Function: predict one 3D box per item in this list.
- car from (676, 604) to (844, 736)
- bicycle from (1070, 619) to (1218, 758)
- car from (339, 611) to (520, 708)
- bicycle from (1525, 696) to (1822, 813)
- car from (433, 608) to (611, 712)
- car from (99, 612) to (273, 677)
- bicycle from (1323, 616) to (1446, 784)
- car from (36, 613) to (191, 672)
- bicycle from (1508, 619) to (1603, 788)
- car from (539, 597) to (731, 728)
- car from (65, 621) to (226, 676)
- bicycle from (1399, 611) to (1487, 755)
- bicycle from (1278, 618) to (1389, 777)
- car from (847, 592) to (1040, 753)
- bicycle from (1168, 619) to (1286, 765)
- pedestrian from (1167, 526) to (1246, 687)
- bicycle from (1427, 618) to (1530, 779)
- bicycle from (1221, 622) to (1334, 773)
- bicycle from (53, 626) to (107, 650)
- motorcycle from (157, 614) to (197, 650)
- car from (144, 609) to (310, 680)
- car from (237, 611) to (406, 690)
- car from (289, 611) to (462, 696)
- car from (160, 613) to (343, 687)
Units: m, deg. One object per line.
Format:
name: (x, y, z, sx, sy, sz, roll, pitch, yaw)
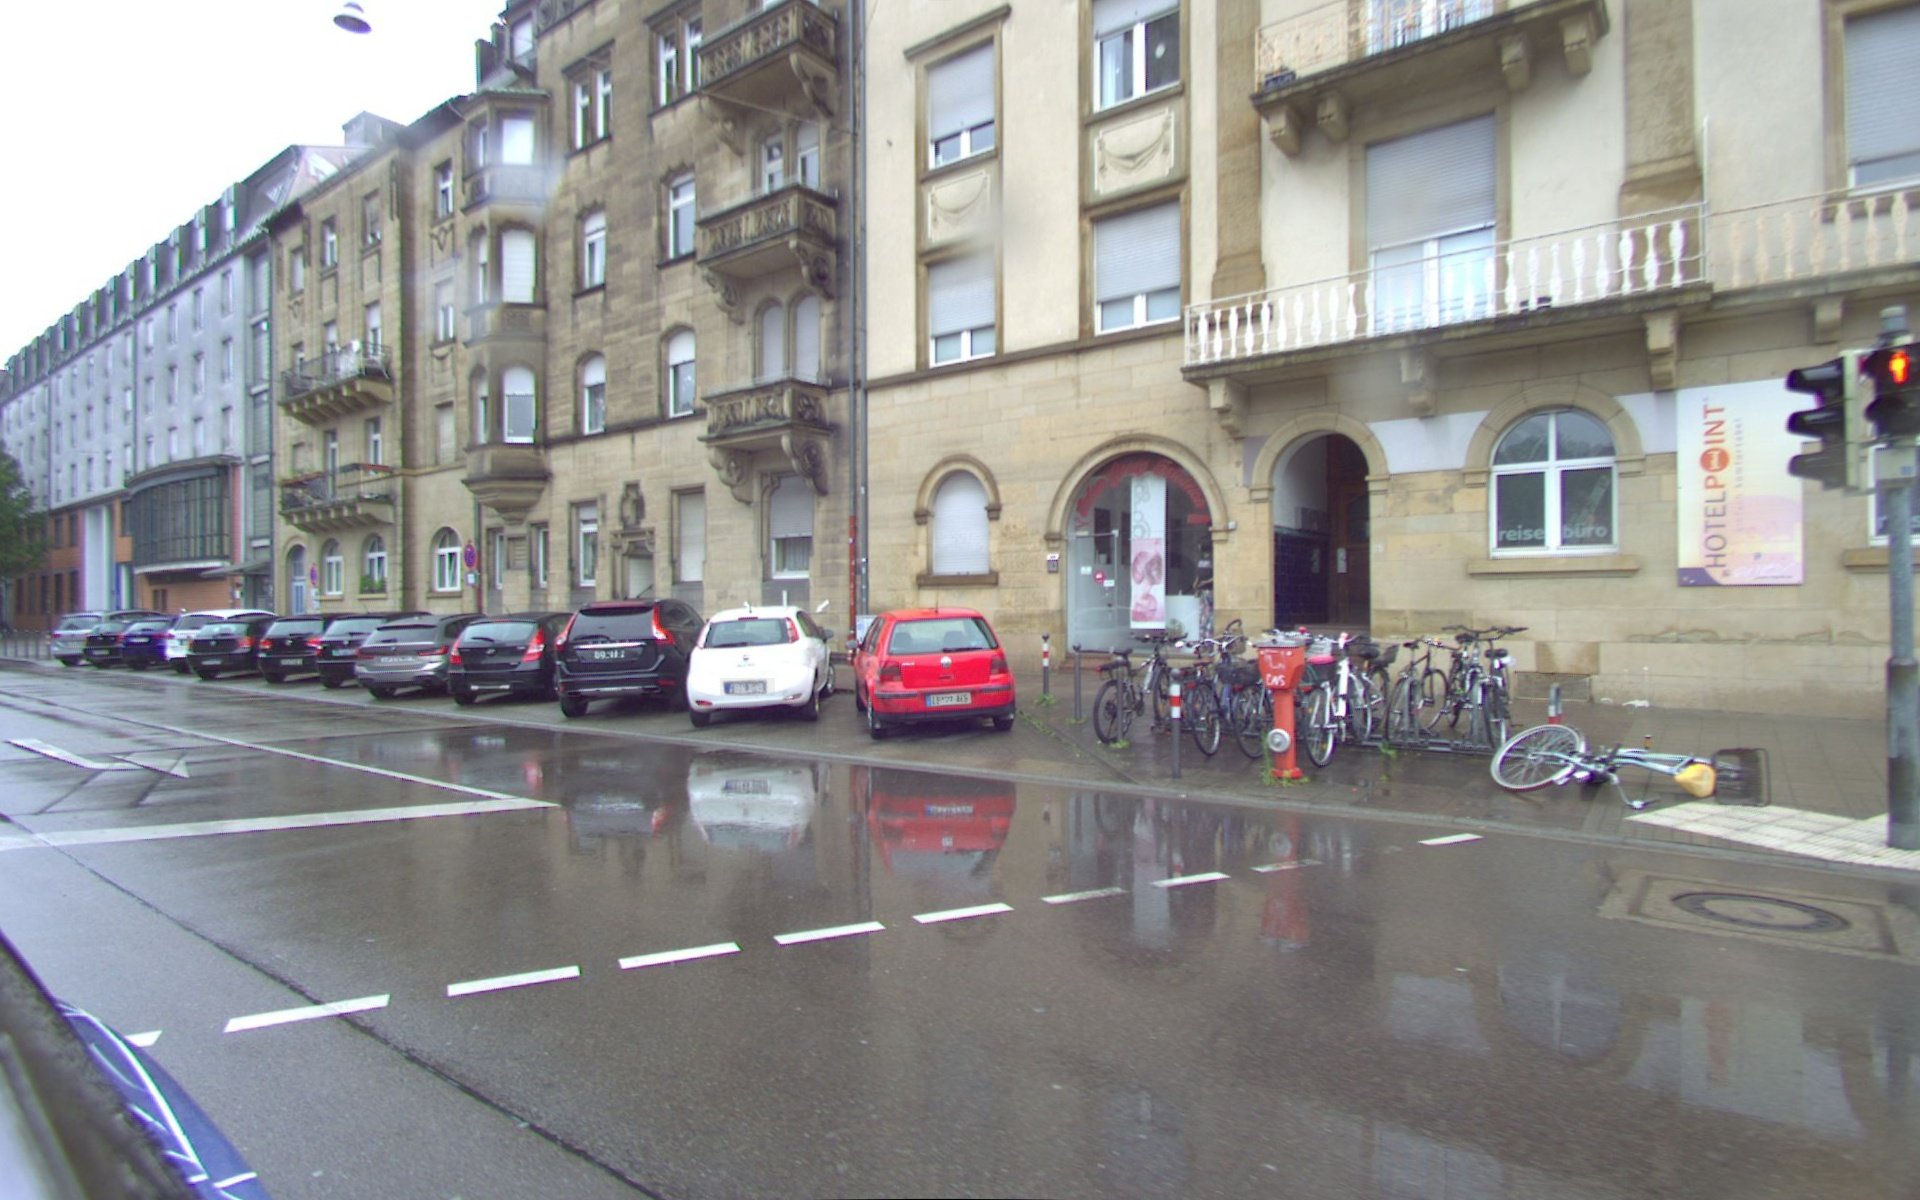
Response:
car: (-2.696, 0.866, 14.481, 1.680, 1.545, 3.996, -2, 0, -2)
bicycle: (1.957, 0.868, 10.569, 0.600, 1.193, 1.790, -1, 3, 43)
car: (-9.916, 1.050, 19.207, 1.676, 1.555, 3.431, -2, 1, -2)
bicycle: (5.184, 1.105, 7.484, 1.461, 0.668, 1.040, -1, 1, 7)
car: (-7.508, 0.962, 17.673, 1.677, 1.536, 3.311, -2, 1, -1)
car: (-21.911, 1.208, 28.848, 1.879, 1.539, 3.720, 0, 2, 7)
bicycle: (3.831, 0.819, 9.045, 0.437, 1.340, 1.956, -2, -2, 40)
car: (-26.651, 1.300, 32.043, 1.789, 1.743, 3.926, 0, -1, -4)
bicycle: (5.540, 0.860, 9.351, 0.638, 1.356, 2.321, -1, -1, 33)
car: (-4.885, 0.841, 15.814, 1.739, 1.705, 4.087, -2, 1, -2)
car: (-24.175, 1.401, 30.211, 1.695, 1.539, 3.724, 0, -1, 3)
bicycle: (5.082, 0.797, 10.592, 0.583, 1.356, 2.041, -1, -1, 32)
bicycle: (3.498, 0.828, 9.374, 0.474, 1.193, 1.963, -1, 2, 35)
car: (-0.385, 0.749, 12.772, 1.775, 1.519, 4.009, -3, 2, -9)
bicycle: (2.682, 0.854, 10.041, 0.474, 1.193, 1.794, -1, 3, 36)
pedestrian: (3.739, 0.103, 15.369, 0.834, 2.357, 0.766, 0, -1, -30)
bicycle: (5.067, 0.864, 9.804, 0.638, 1.356, 2.321, -1, -1, 33)
bicycle: (3.075, 0.872, 9.695, 0.467, 1.193, 1.794, -1, 2, 36)
bicycle: (-44.988, 1.942, 51.780, 1.873, 1.234, 0.939, 1, -2, -26)
motorcycle: (-32.780, 1.332, 42.365, 2.359, 1.474, 0.767, -1, -2, 38)
car: (-19.588, 1.134, 27.263, 1.754, 1.639, 3.727, -2, 1, 0)
car: (-14.611, 1.097, 23.413, 1.604, 1.555, 3.761, -2, 1, -2)
car: (-12.377, 1.073, 21.680, 1.606, 1.555, 3.442, -2, 1, 2)
car: (-17.284, 1.163, 24.912, 1.755, 1.555, 3.724, -2, 1, 3)
